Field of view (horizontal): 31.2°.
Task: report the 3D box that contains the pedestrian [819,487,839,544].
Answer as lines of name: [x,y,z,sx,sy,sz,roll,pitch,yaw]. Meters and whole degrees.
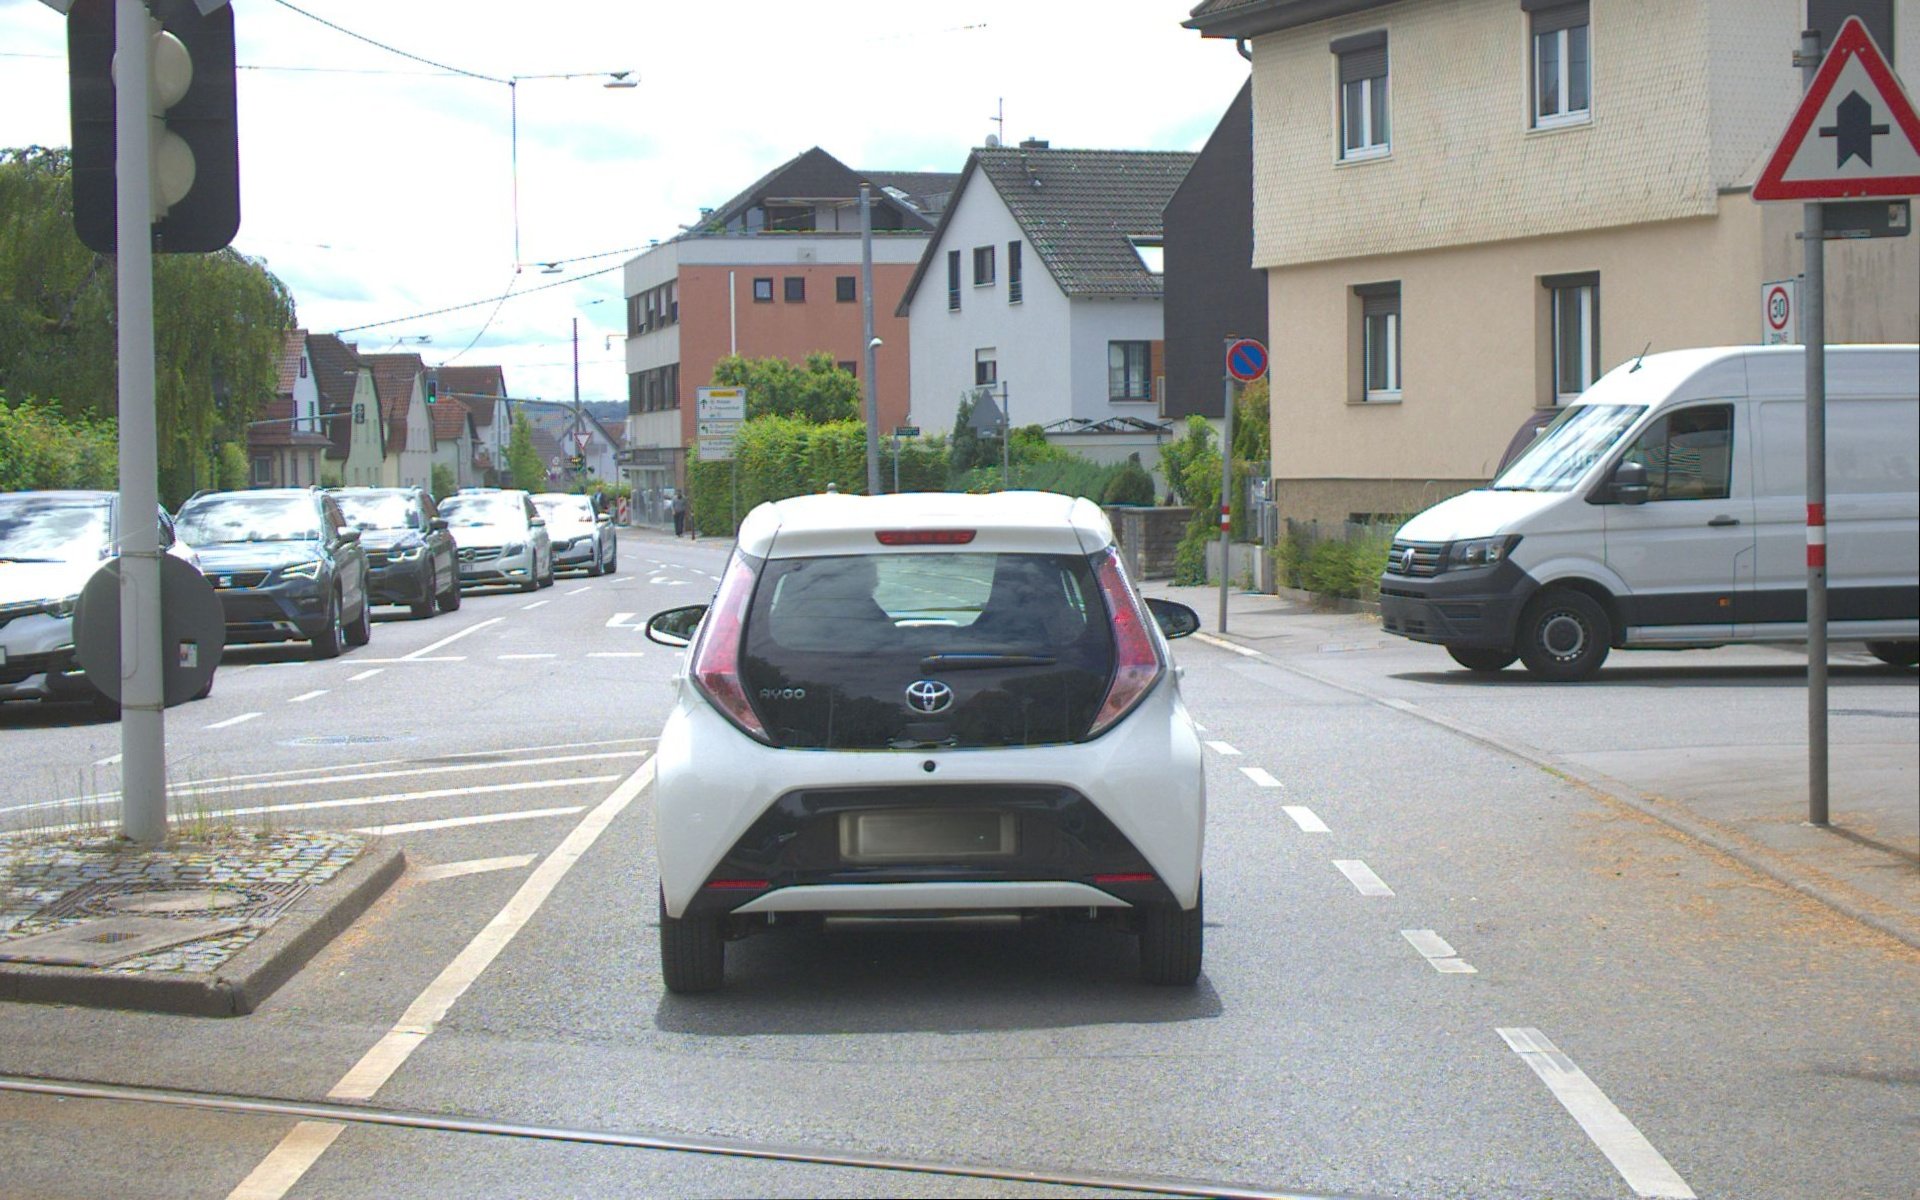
pedestrian: [-3.360,-2.167,88.031,0.413,1.433,0.438,0,2,-15]

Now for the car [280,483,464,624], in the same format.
car: [-7.334,-0.603,43.207,1.775,1.597,4.170,-3,1,-4]

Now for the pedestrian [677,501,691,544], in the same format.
pedestrian: [-9.133,-2.562,113.876,0.413,1.433,0.438,0,2,-10]

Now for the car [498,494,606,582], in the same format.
car: [-7.276,-1.108,61.551,1.774,1.425,4.523,-3,1,-6]

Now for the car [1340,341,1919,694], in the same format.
car: [6.130,-0.694,26.681,5.994,2.572,2.001,-1,3,-12]

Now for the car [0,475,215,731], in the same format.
car: [-6.426,-0.006,23.835,1.775,1.597,4.039,-2,1,-3]

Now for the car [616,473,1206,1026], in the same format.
car: [-0.168,0.345,11.588,1.621,1.481,4.001,-1,3,-1]

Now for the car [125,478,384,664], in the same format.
car: [-6.661,-0.306,32.856,1.775,1.597,4.039,-2,1,-3]

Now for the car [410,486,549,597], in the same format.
car: [-7.446,-0.921,53.588,1.775,1.556,4.170,-3,1,-4]
